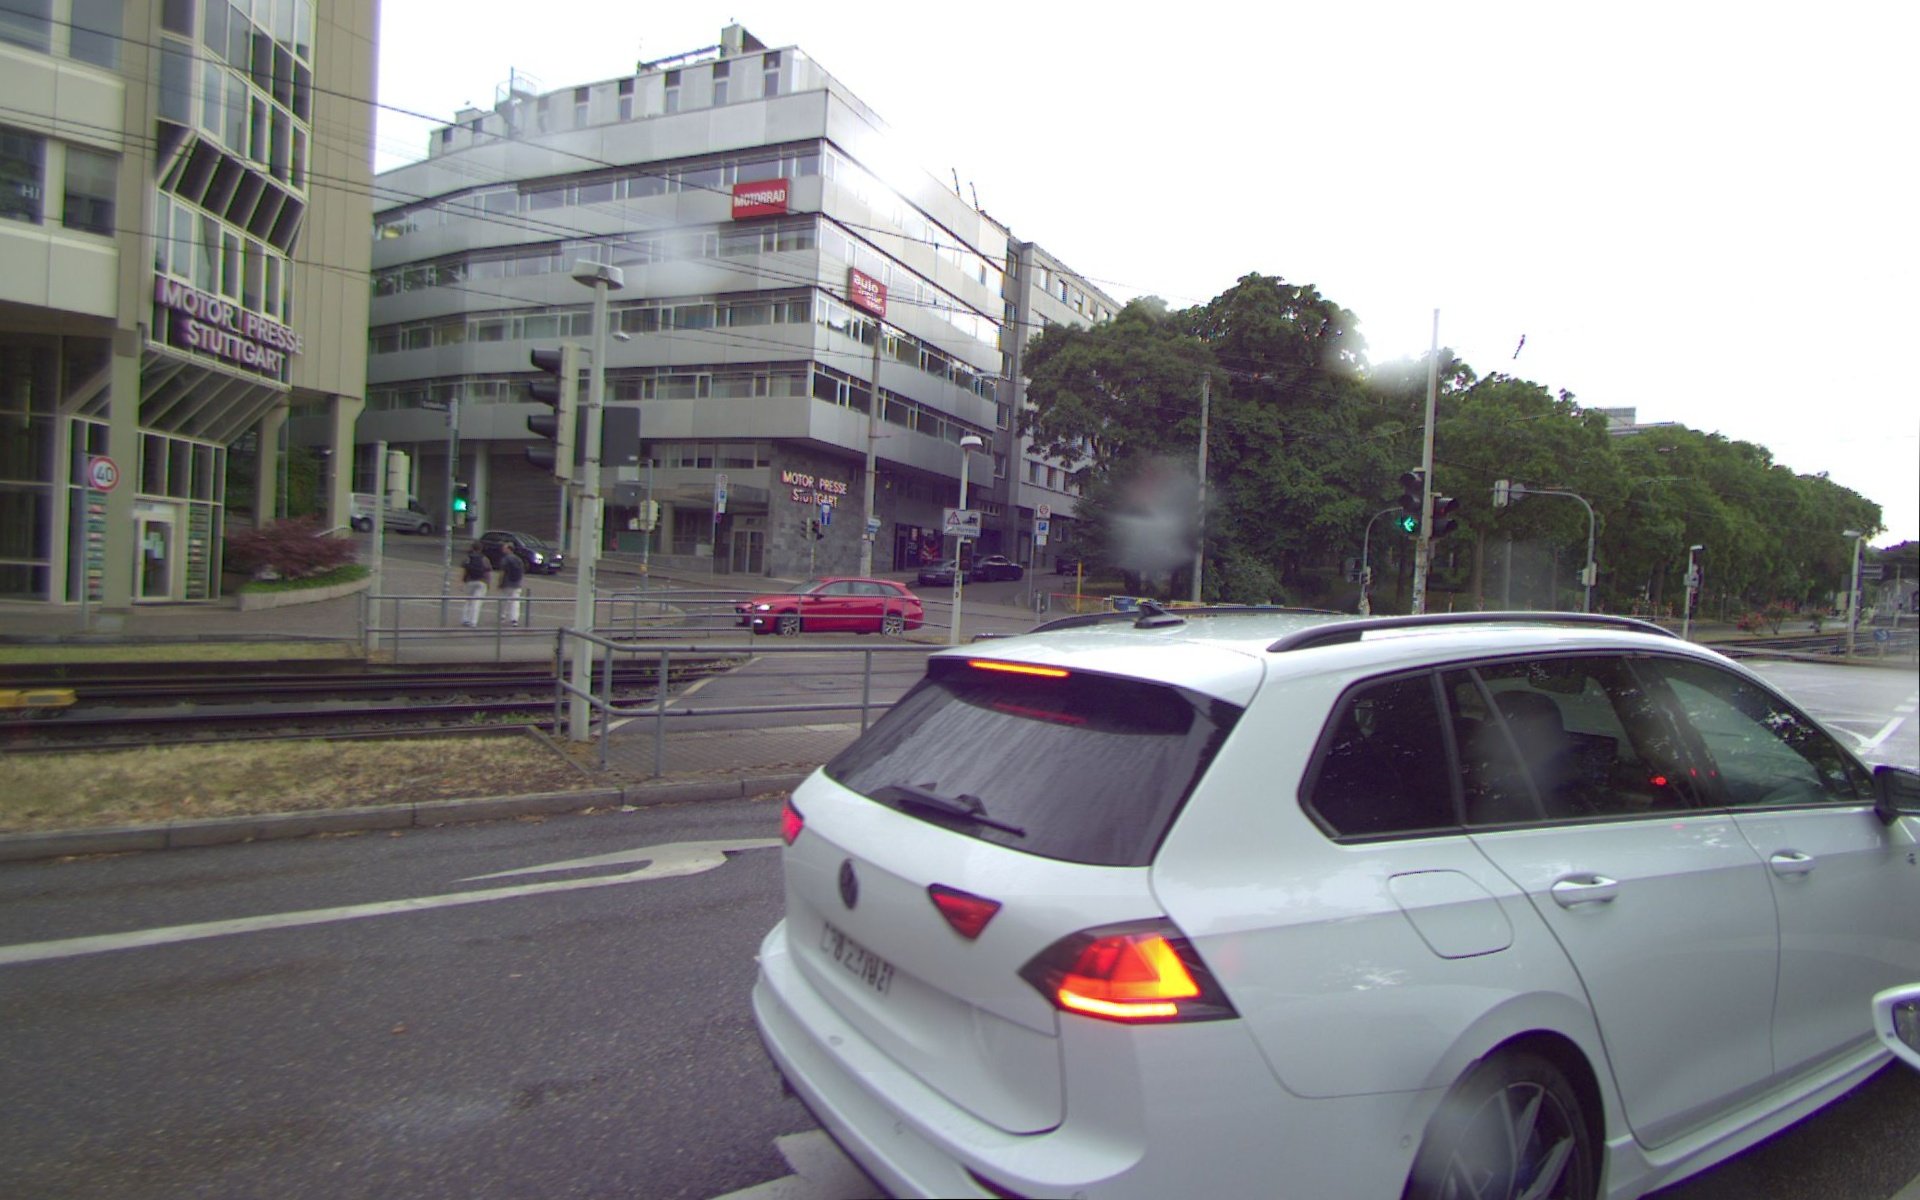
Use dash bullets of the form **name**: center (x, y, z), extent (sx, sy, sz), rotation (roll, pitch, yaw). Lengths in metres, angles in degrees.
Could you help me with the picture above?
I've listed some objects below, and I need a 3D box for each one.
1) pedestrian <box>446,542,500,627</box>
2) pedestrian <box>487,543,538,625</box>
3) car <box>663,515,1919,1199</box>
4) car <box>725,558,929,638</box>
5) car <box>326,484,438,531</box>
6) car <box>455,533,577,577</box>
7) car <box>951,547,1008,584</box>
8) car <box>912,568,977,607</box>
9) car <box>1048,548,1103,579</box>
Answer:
- **pedestrian**: center (-10.742, -0.336, 22.171), extent (0.630, 1.811, 0.808), rotation (6, 3, 36)
- **pedestrian**: center (-10.251, -0.368, 23.011), extent (0.630, 1.811, 0.808), rotation (6, 3, 36)
- **car**: center (1.437, 0.708, 3.042), extent (4.203, 1.597, 1.670), rotation (1, 1, -31)
- **car**: center (-3.143, -0.040, 23.880), extent (4.363, 1.662, 1.971), rotation (2, 2, -29)
- **car**: center (-30.640, -4.859, 53.391), extent (1.963, 2.040, 4.831), rotation (5, 2, 26)
- **car**: center (-16.802, -1.700, 38.037), extent (3.920, 1.383, 1.830), rotation (5, 2, 16)
- **car**: center (1.123, -1.983, 56.402), extent (1.961, 1.818, 3.998), rotation (5, 5, 19)
- **car**: center (-0.771, -0.655, 51.542), extent (1.961, 1.818, 3.999), rotation (5, 2, 19)
- **car**: center (7.711, -2.380, 66.688), extent (1.964, 1.818, 4.201), rotation (5, 3, 30)
